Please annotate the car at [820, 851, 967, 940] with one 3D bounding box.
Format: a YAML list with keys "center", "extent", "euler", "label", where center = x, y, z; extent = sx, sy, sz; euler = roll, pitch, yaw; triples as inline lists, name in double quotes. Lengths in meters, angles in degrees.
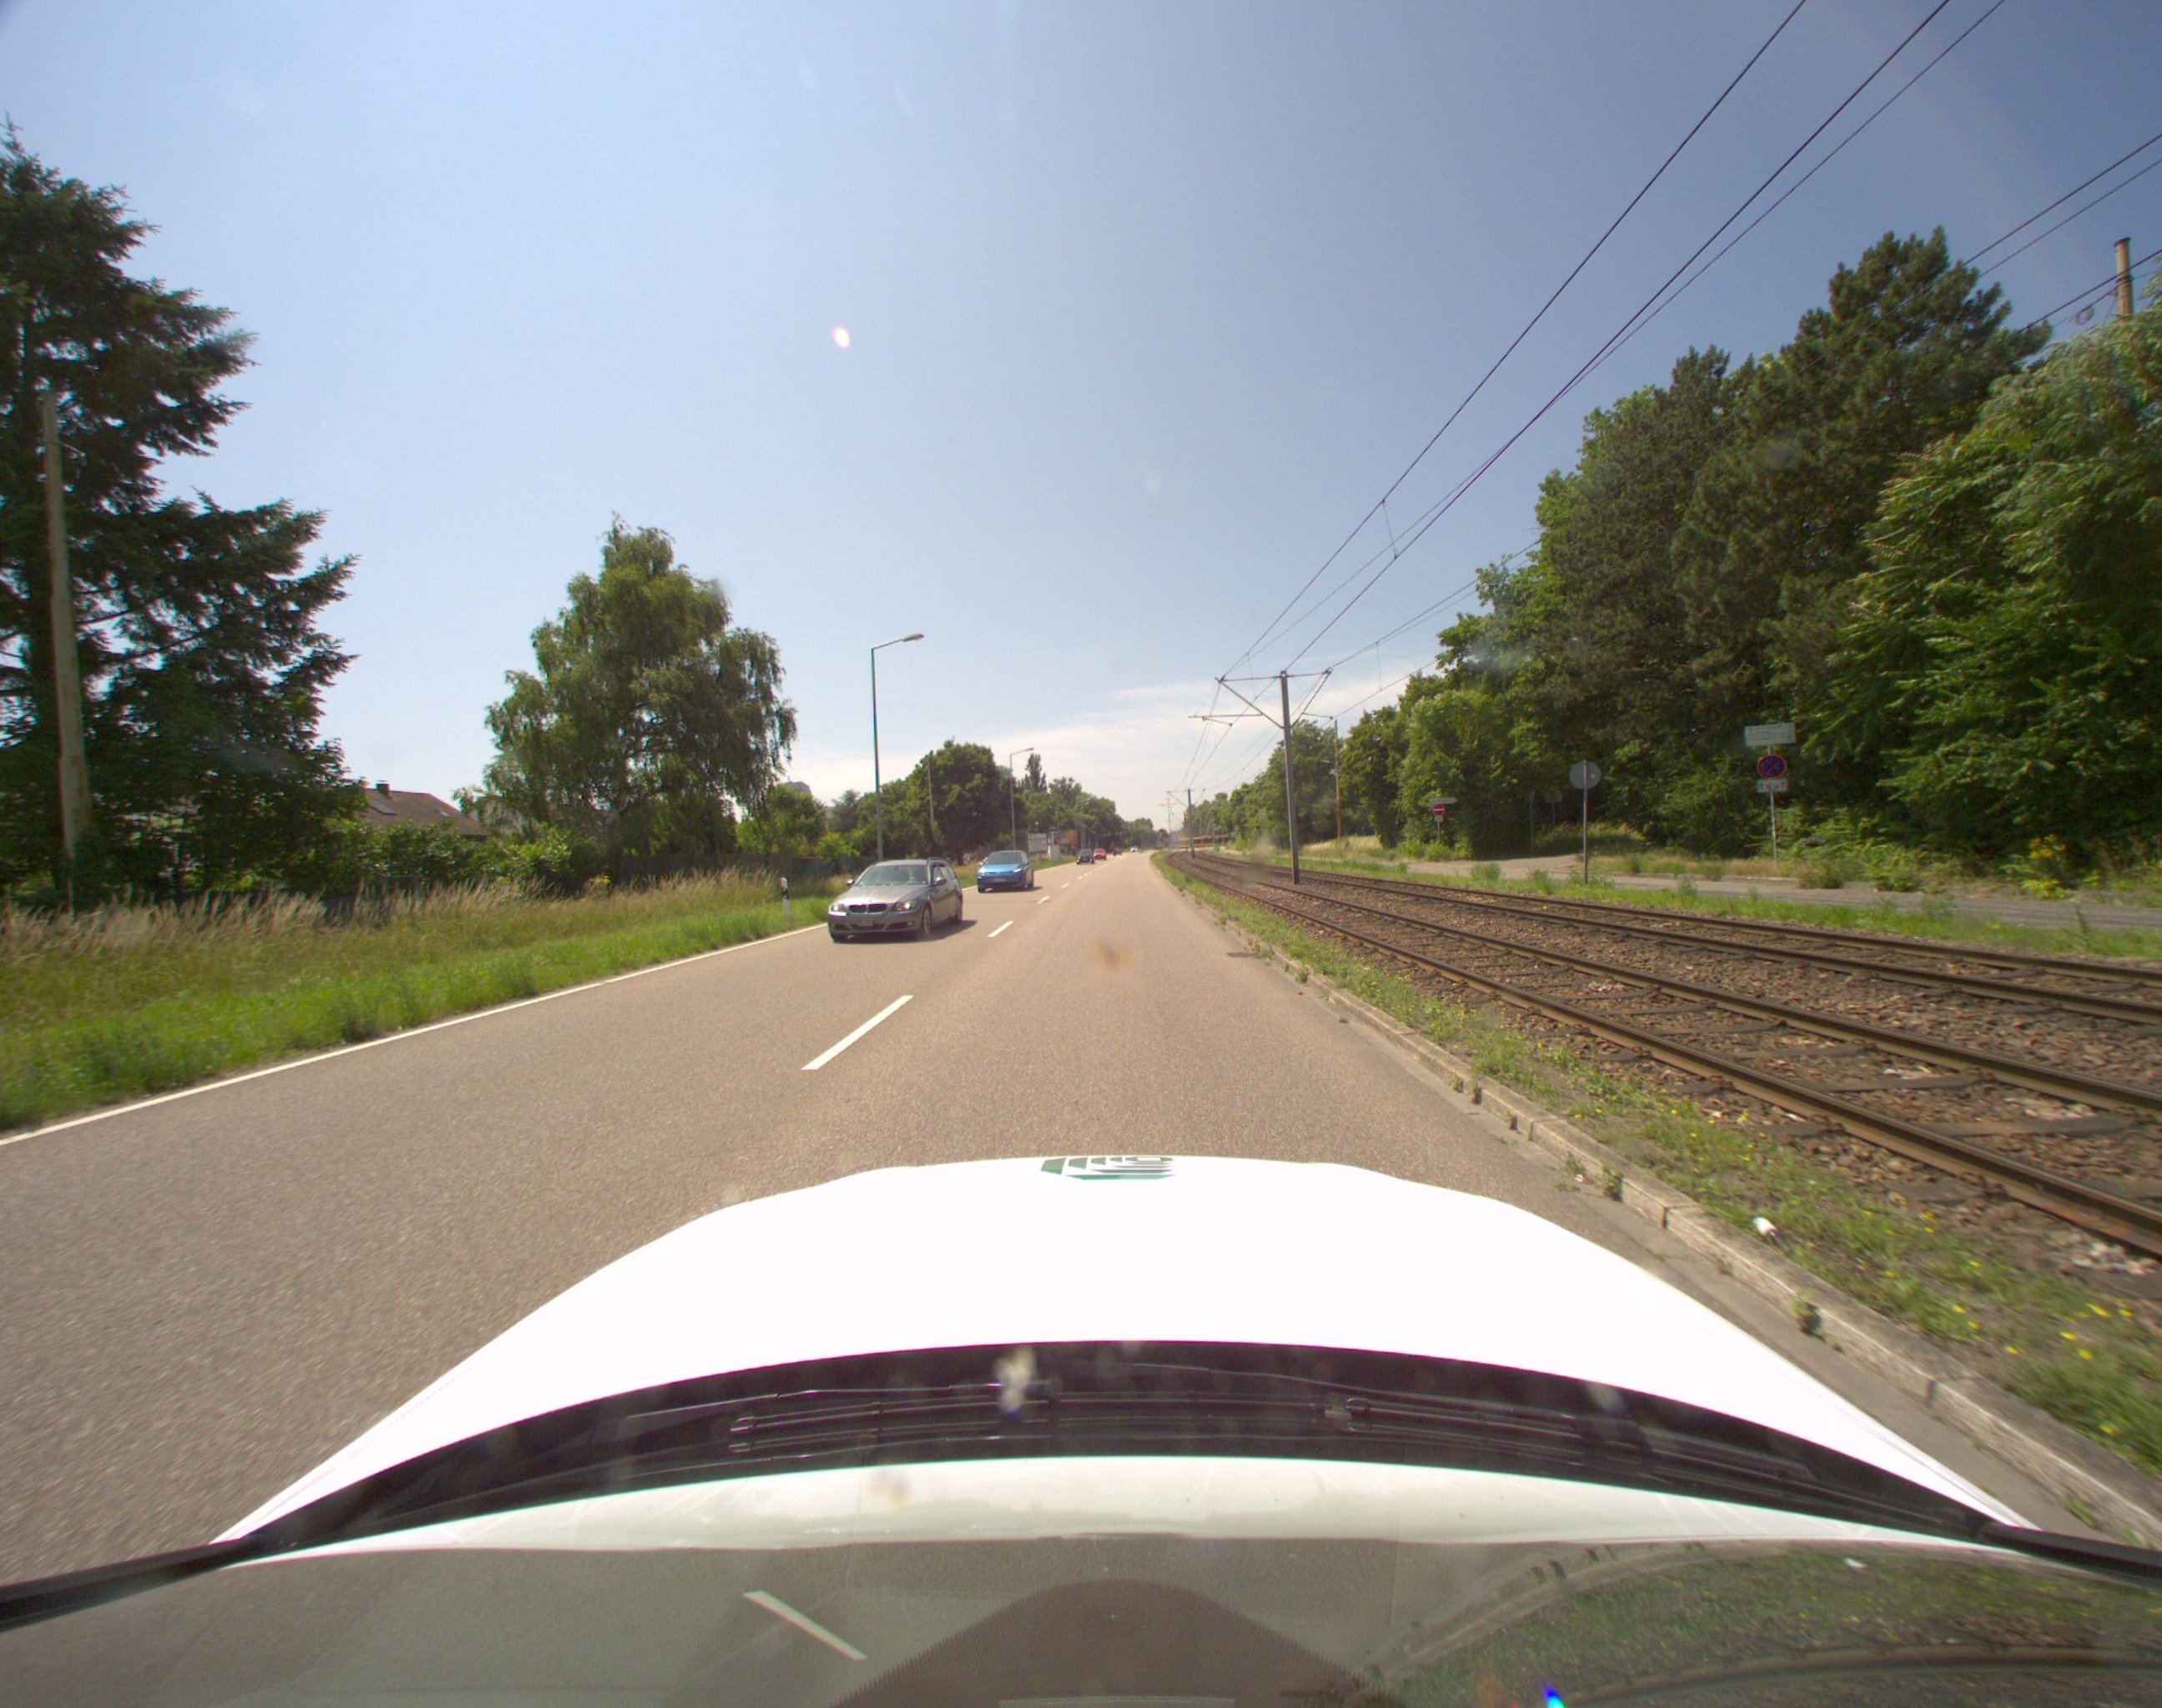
- center: [-3.494, 0.704, 16.028]
  extent: [1.750, 1.423, 4.325]
  euler: [-2, 1, 1]
  label: "car"

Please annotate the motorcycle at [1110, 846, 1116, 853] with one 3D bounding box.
- center: [6.019, -0.892, 153.834]
  extent: [0.843, 1.255, 2.453]
  euler: [-2, 0, 6]
  label: "motorcycle"

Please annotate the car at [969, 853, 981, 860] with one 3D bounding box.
- center: [-26.847, 0.635, 206.561]
  extent: [1.855, 1.668, 3.967]
  euler: [-4, 0, -25]
  label: "car"

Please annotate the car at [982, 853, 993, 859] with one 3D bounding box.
- center: [-23.801, 0.525, 207.035]
  extent: [1.711, 1.592, 3.971]
  euler: [-3, 0, -21]
  label: "car"

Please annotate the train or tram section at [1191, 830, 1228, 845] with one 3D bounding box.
- center: [40.150, -5.151, 255.314]
  extent: [2.935, 3.919, 13.814]
  euler: [-1, -3, -34]
  label: "train or tram section"

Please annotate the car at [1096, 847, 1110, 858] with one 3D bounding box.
- center: [2.797, -0.201, 102.985]
  extent: [1.673, 1.399, 4.001]
  euler: [-2, 1, 1]
  label: "car"

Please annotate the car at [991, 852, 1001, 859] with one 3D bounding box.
- center: [-21.687, 0.333, 207.764]
  extent: [1.708, 1.800, 3.977]
  euler: [-3, 0, -17]
  label: "car"

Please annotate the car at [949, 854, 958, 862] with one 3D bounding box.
- center: [-32.122, 1.028, 205.233]
  extent: [1.851, 1.711, 3.977]
  euler: [-2, -1, -17]
  label: "car"

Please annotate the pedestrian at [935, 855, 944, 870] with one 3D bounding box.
- center: [-12.546, 0.763, 72.282]
  extent: [0.578, 1.355, 0.799]
  euler: [-2, 0, 3]
  label: "pedestrian"

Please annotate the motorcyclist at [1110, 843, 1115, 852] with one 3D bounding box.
- center: [5.990, -1.277, 153.867]
  extent: [0.786, 1.642, 1.213]
  euler: [-2, 0, 7]
  label: "motorcyclist"

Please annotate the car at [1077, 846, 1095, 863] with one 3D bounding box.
- center: [0.518, 0.051, 81.304]
  extent: [1.678, 1.569, 3.969]
  euler: [-2, 1, 1]
  label: "car"

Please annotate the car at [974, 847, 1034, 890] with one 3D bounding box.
- center: [-2.955, 0.530, 31.897]
  extent: [1.809, 1.505, 4.001]
  euler: [-2, 1, 1]
  label: "car"

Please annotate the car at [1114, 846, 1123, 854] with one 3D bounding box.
- center: [8.395, -0.890, 182.055]
  extent: [1.898, 1.499, 4.635]
  euler: [-2, 0, 4]
  label: "car"
